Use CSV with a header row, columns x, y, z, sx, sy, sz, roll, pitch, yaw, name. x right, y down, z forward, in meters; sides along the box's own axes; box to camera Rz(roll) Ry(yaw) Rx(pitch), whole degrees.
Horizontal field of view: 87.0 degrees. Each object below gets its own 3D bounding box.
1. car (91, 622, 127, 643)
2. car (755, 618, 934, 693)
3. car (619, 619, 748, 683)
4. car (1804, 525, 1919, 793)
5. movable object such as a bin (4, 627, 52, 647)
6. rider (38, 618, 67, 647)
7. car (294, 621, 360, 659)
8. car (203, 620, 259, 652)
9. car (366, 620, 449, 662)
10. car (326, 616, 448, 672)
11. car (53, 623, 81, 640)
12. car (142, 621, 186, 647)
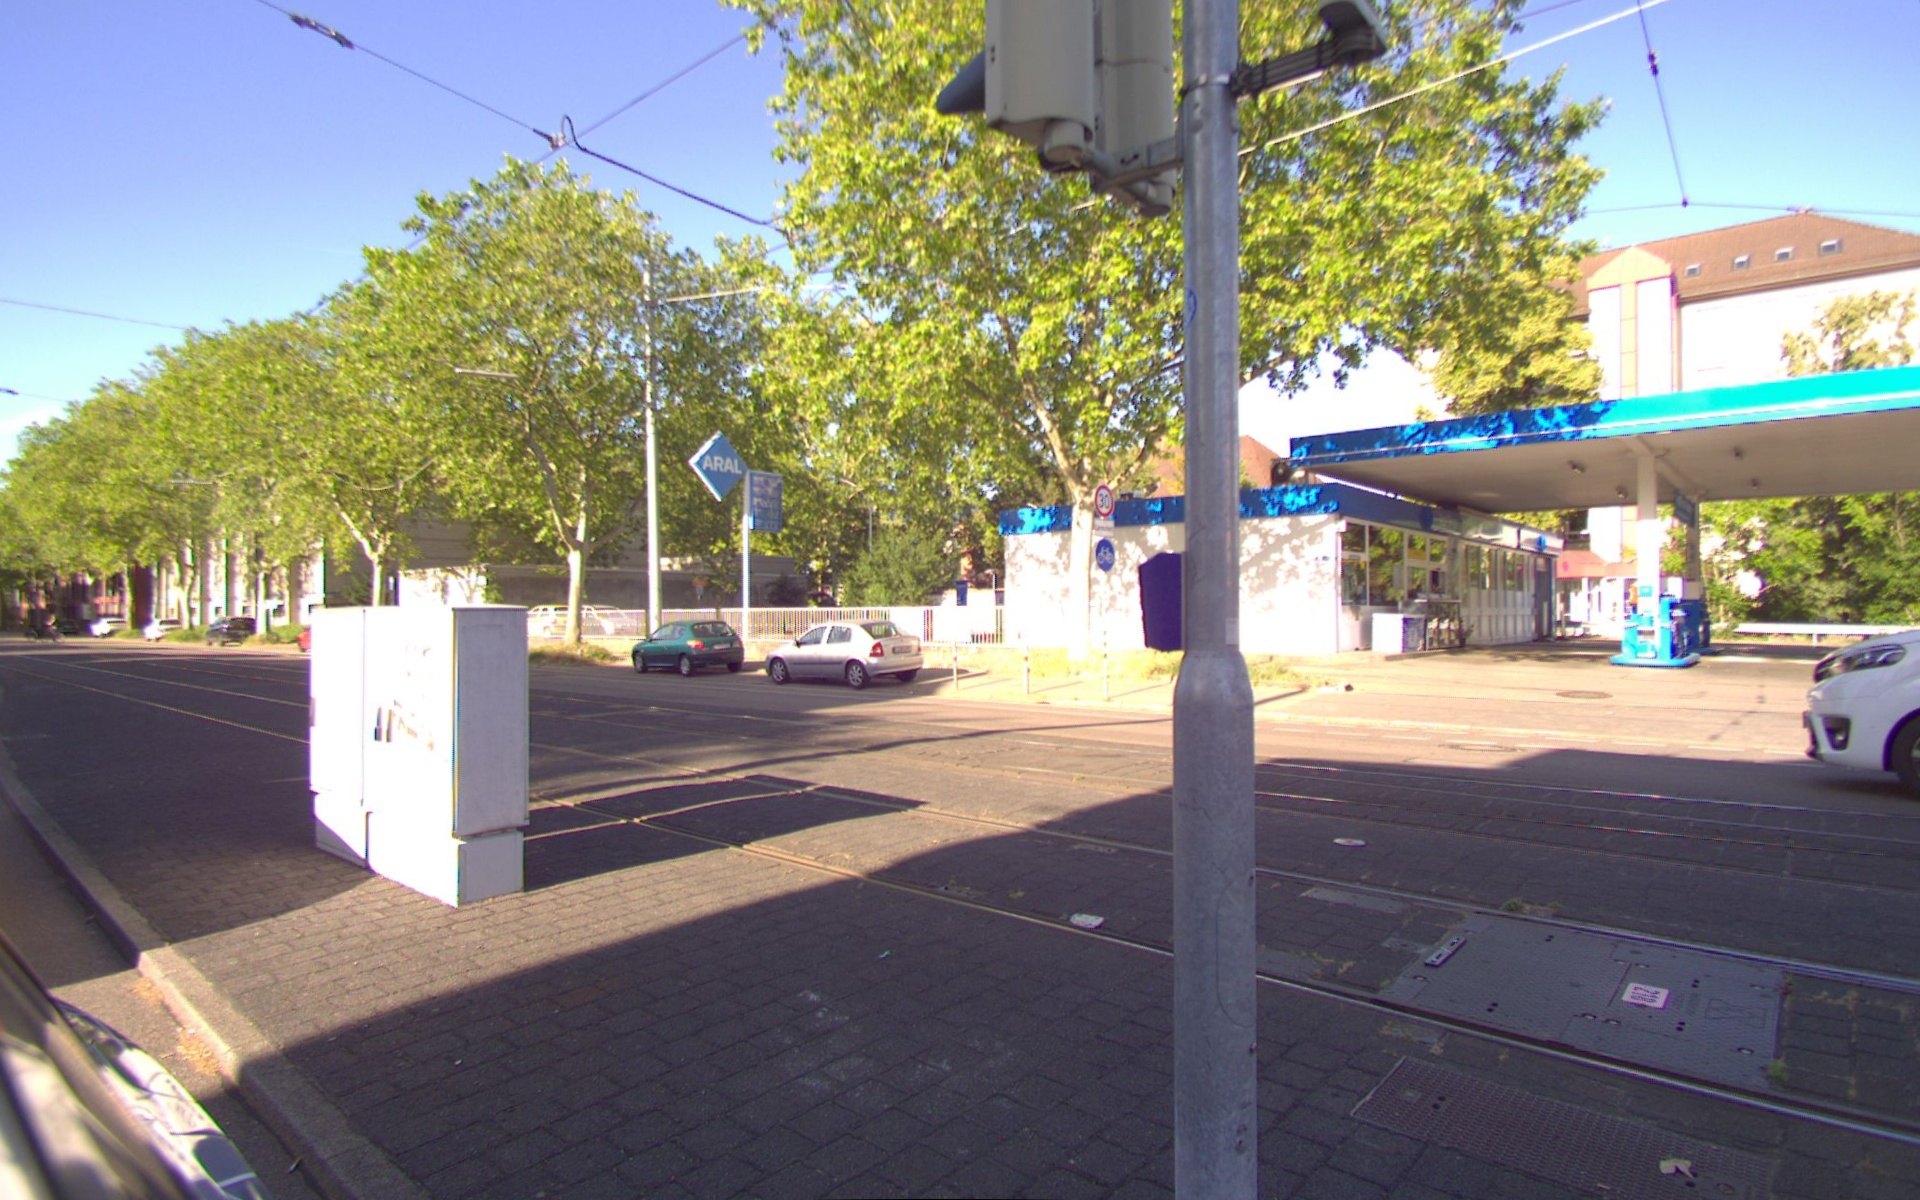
x,y,z,sx,sy,sz,roll,pitch,yaw,name
-66.790,2.504,79.412,3.731,1.471,1.639,-1,2,43,car
-2.633,1.188,22.597,3.987,1.376,1.666,-2,3,41,car
-7.387,1.299,26.870,3.606,1.455,1.598,-1,2,43,car
8.809,0.410,6.389,5.217,1.868,1.971,-2,-4,43,car
-55.313,2.176,60.072,1.809,1.111,1.179,-1,0,0,movable object such as a bin
-53.853,1.906,60.050,1.091,1.660,0.726,-1,0,0,rider
-28.789,1.786,46.002,3.377,1.506,1.639,-1,2,43,car
-40.705,1.984,56.500,3.878,1.603,1.731,-1,2,43,car
-21.780,1.568,39.843,3.769,1.455,1.701,-1,2,43,car
-16.164,1.234,28.501,3.933,1.446,1.720,-1,-4,41,car
-84.962,3.015,96.260,3.731,1.471,1.639,-1,2,43,car
-53.703,2.288,68.245,3.878,1.552,1.731,-1,2,43,car
